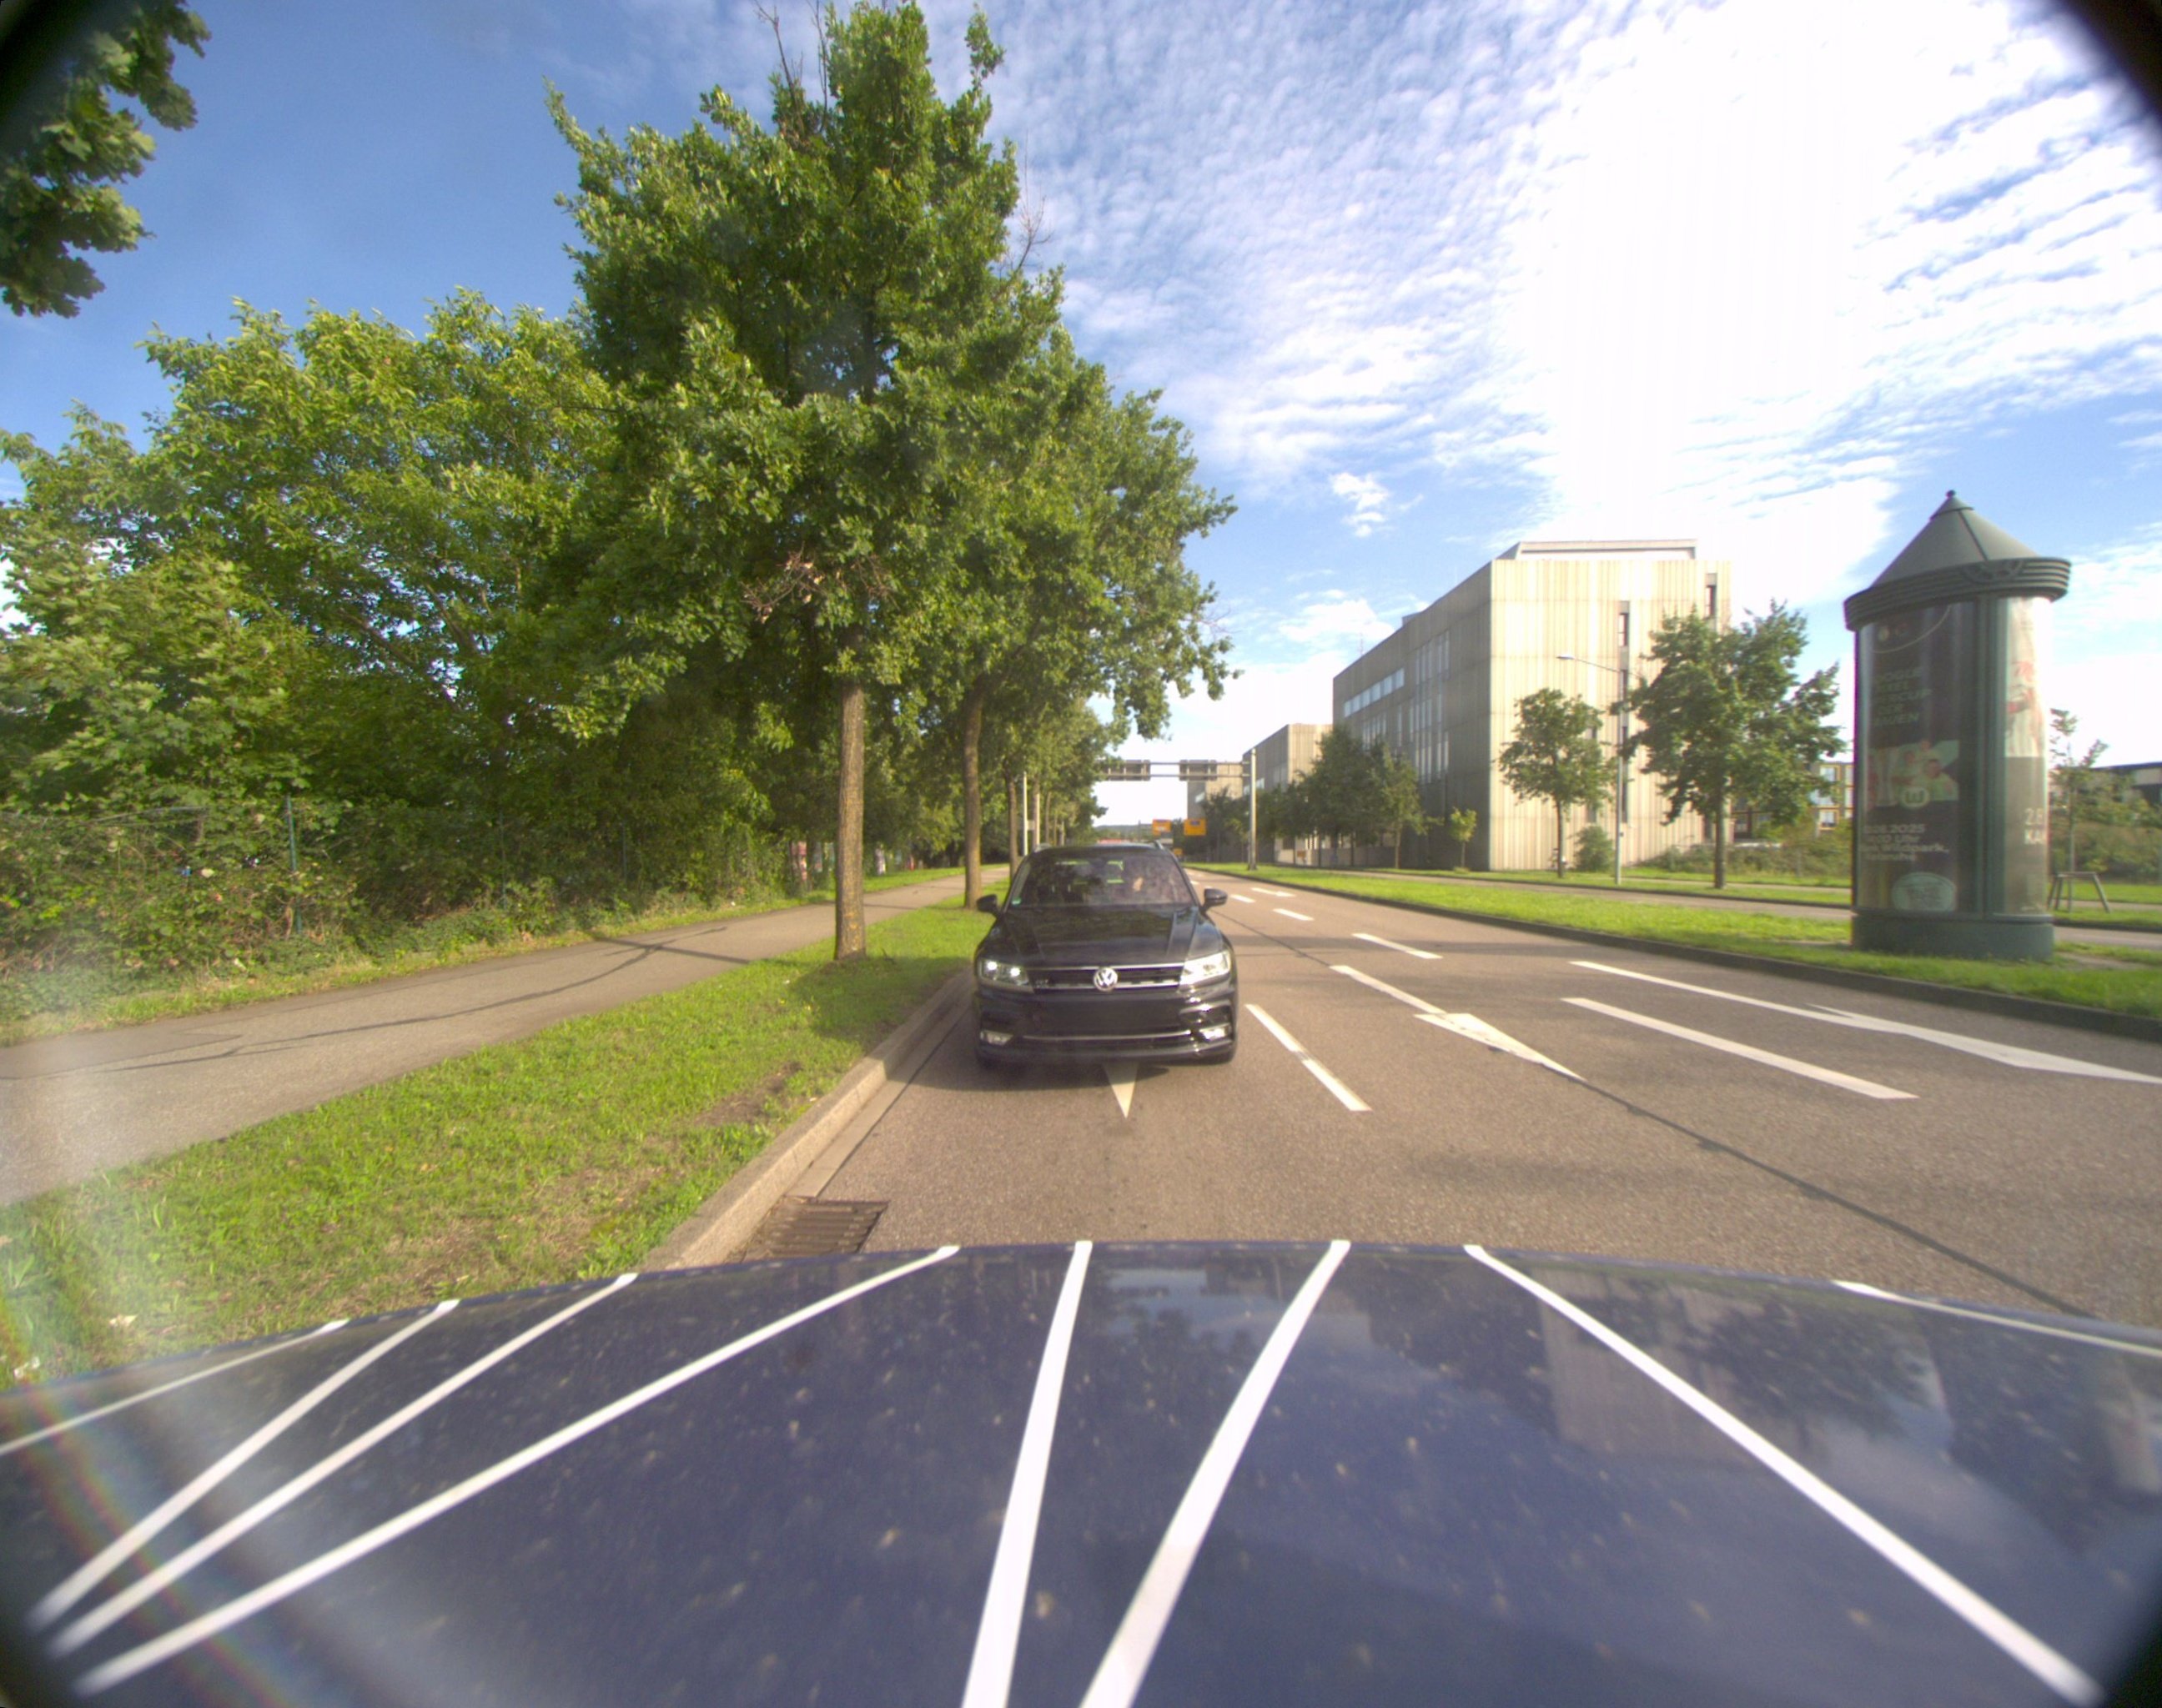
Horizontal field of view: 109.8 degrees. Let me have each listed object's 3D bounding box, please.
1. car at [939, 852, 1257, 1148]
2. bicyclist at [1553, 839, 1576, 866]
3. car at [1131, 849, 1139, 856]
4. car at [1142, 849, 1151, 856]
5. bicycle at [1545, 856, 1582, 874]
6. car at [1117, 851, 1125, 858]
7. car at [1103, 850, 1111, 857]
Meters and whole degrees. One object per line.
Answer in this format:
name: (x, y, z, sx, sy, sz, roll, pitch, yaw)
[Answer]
car: (0.154, 0.843, 6.301, 1.775, 1.637, 3.868, -2, 1, 2)
bicyclist: (27.985, -0.085, 43.980, 0.707, 1.517, 0.989, 0, 1, 1)
car: (15.482, -0.483, 217.642, 1.998, 2.002, 3.983, 0, 0, 0)
car: (17.430, -0.432, 203.103, 1.998, 2.002, 4.000, 0, 0, 0)
bicycle: (27.976, 0.623, 44.089, 0.897, 0.975, 1.911, 0, 0, 1)
car: (8.136, 0.108, 154.566, 1.745, 1.455, 4.000, -1, 1, 3)
car: (5.777, -0.118, 170.921, 1.758, 1.696, 4.000, -1, 0, 0)
